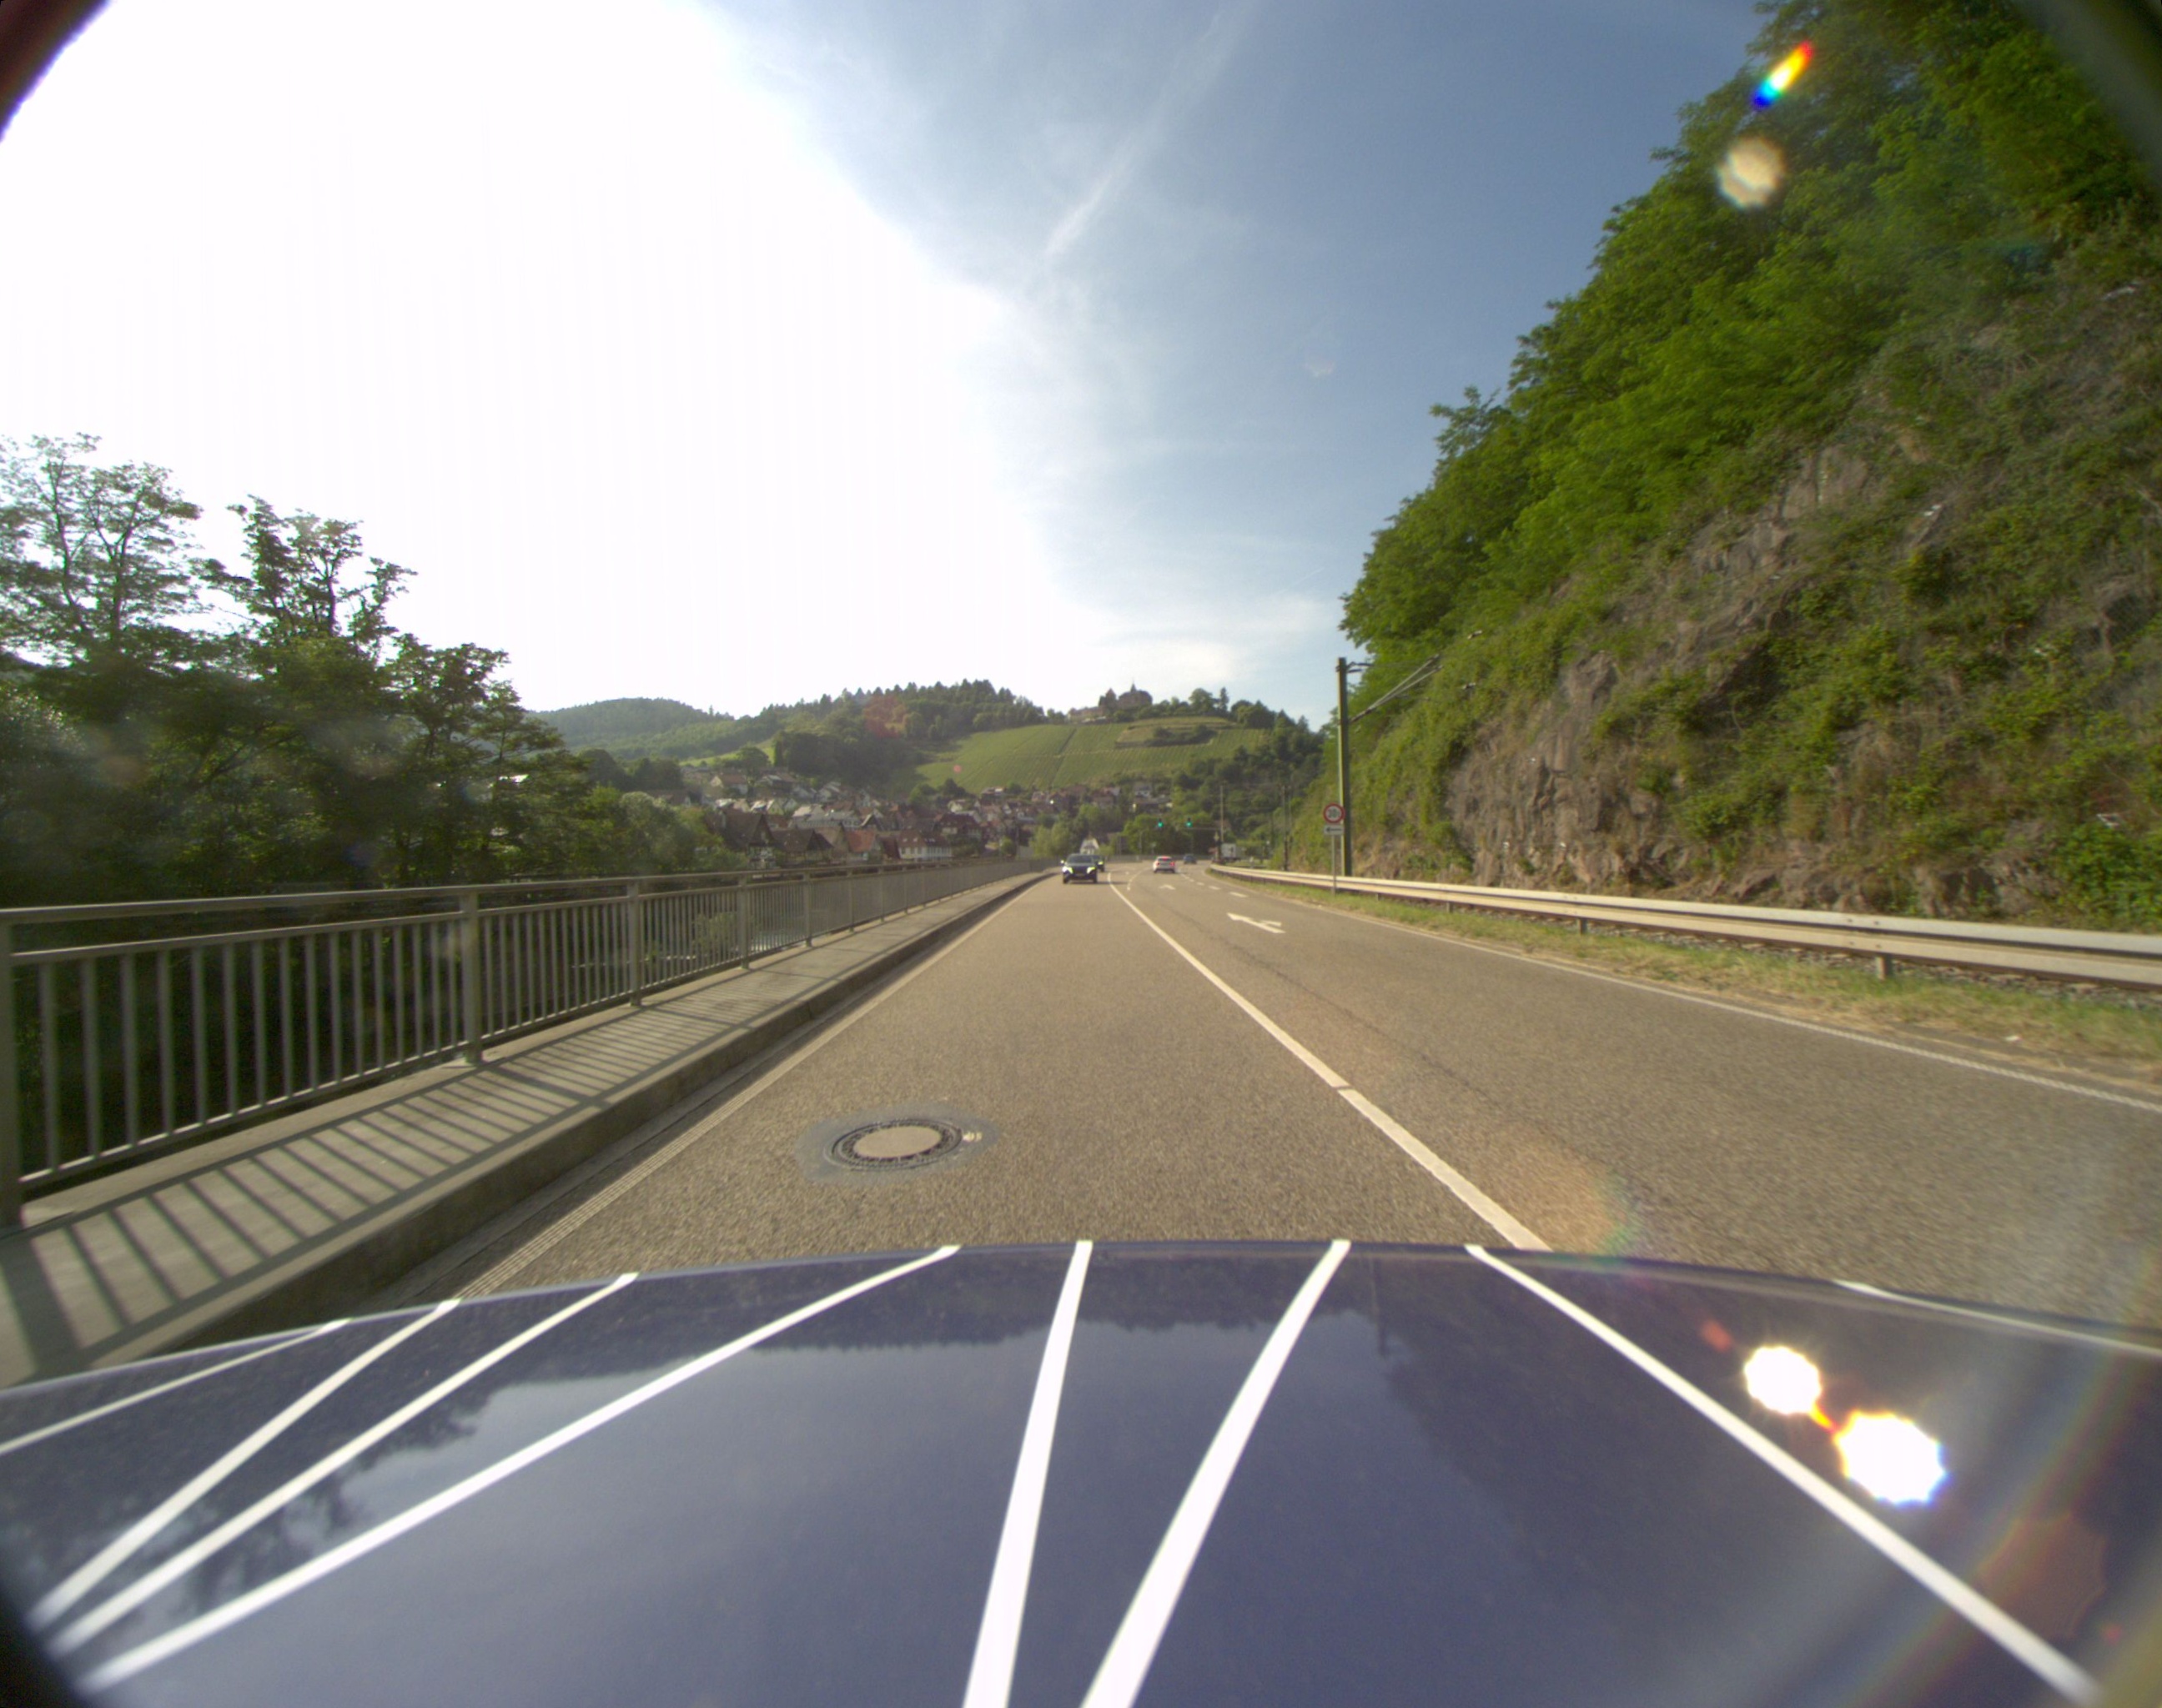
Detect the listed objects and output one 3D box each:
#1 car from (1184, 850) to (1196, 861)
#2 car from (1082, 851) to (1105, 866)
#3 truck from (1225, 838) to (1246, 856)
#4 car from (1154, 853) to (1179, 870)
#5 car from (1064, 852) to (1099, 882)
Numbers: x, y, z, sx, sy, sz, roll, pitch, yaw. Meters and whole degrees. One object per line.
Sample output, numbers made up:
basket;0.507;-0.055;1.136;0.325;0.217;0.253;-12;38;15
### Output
car;17.570;0.219;122.501;1.721;1.561;4.138;-2;0;10
car;1.116;0.388;69.071;1.998;1.384;4.000;-1;0;1
truck;33.070;-1.457;162.378;2.899;3.776;8.908;0;0;23
car;7.610;0.680;68.054;2.068;1.431;4.687;-1;0;4
car;-0.010;0.705;42.490;1.863;1.576;3.999;0;0;-1
